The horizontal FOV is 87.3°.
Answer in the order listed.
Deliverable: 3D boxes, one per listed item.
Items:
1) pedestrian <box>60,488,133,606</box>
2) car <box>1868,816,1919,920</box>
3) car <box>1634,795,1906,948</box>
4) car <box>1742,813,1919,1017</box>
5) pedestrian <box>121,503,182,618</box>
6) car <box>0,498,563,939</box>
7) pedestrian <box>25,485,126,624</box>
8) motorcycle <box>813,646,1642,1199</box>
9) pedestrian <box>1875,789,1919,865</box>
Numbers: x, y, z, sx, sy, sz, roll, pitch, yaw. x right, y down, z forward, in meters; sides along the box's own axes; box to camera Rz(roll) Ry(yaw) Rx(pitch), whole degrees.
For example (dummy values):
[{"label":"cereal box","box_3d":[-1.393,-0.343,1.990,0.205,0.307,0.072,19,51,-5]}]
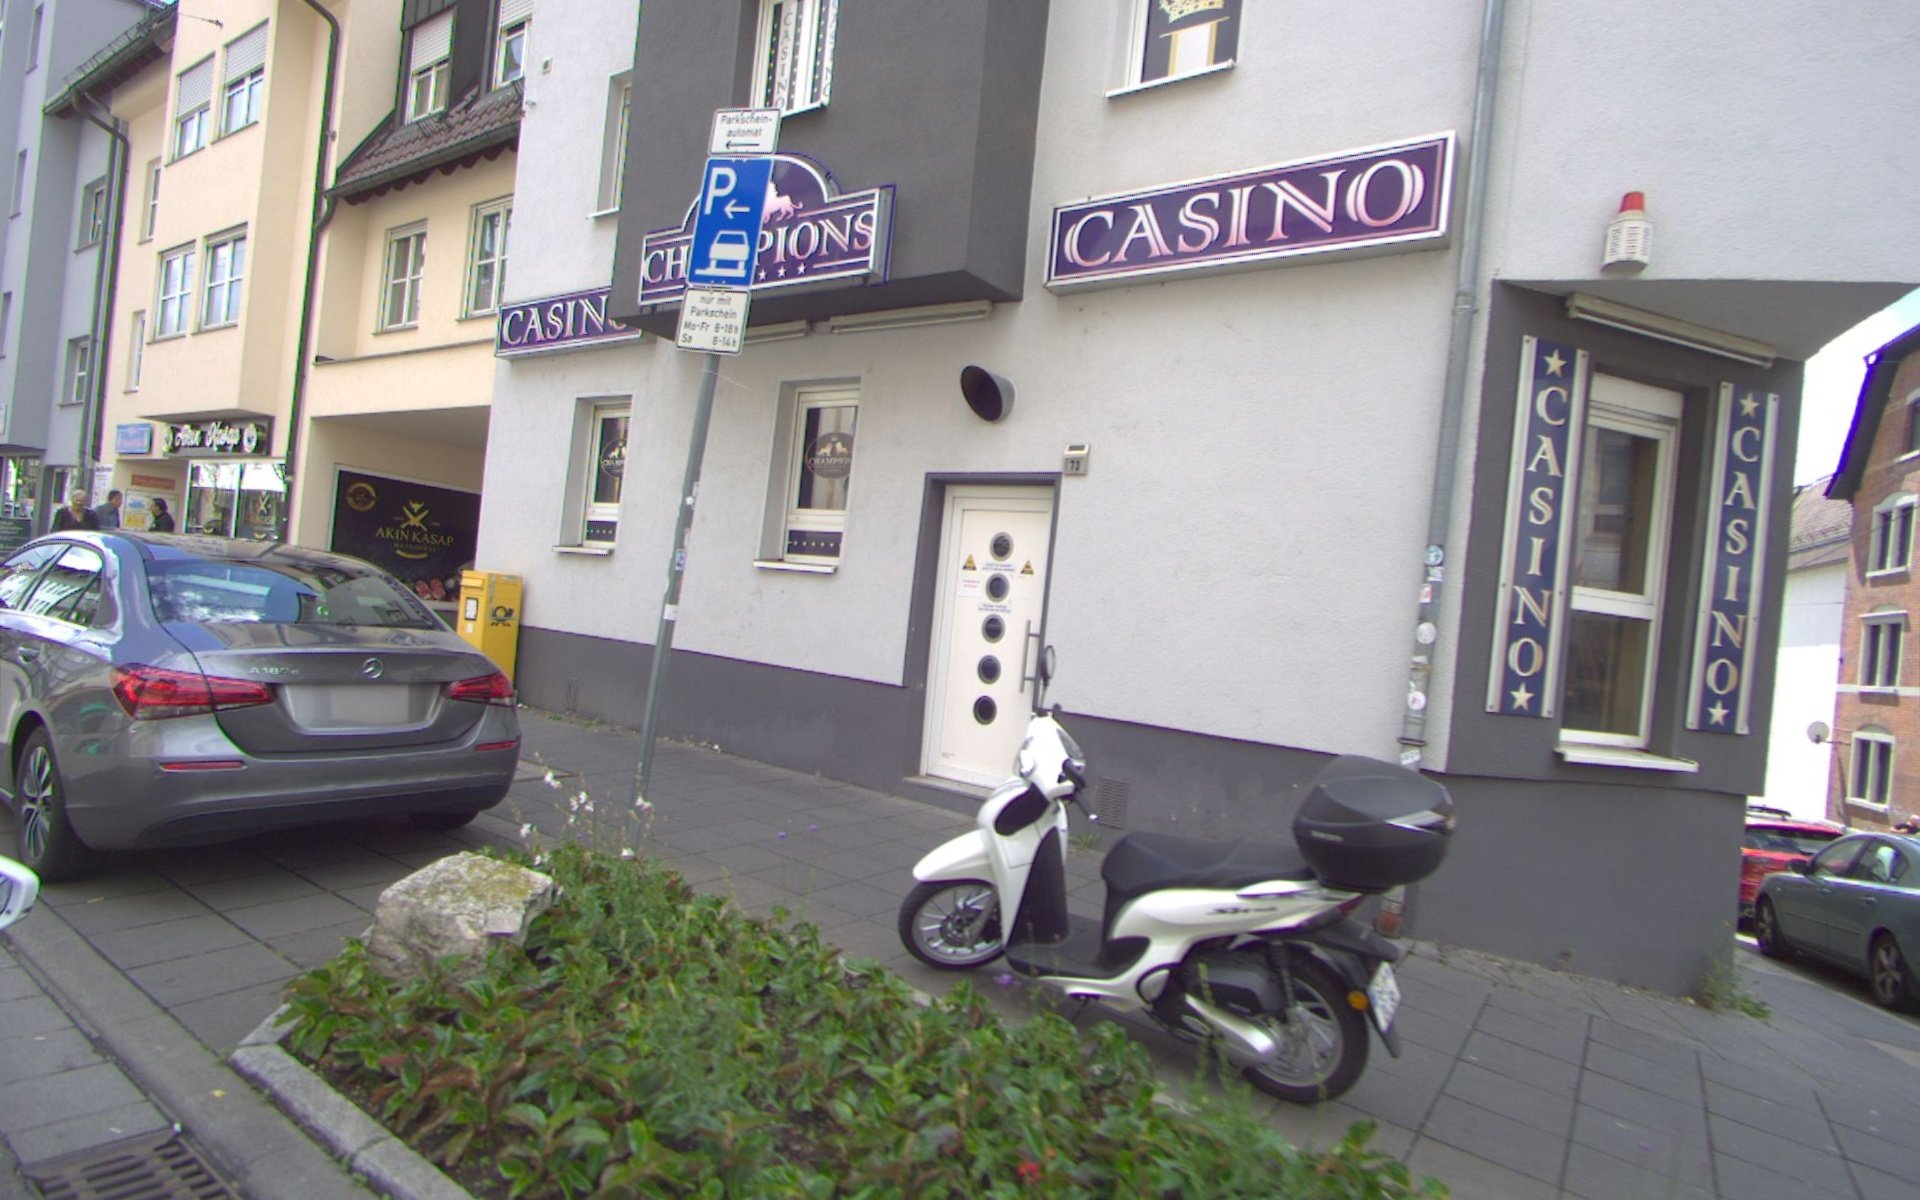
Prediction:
[{"label":"pedestrian","box_3d":[-13.387,-0.816,15.601,0.596,1.737,0.536,6,-2,33]},{"label":"car","box_3d":[17.710,4.812,17.058,1.815,1.771,4.411,8,-6,21]},{"label":"car","box_3d":[10.831,3.554,13.801,1.816,1.411,3.848,6,-7,23]},{"label":"car","box_3d":[8.872,2.850,9.070,1.816,1.411,3.902,6,-7,23]},{"label":"pedestrian","box_3d":[-12.788,-0.621,15.915,0.528,1.737,0.436,6,-2,32]},{"label":"car","box_3d":[-4.103,0.344,5.267,4.254,1.436,1.708,5,-3,38]},{"label":"pedestrian","box_3d":[-11.758,-0.593,13.382,0.645,1.738,0.744,6,-1,34]},{"label":"motorcycle","box_3d":[0.713,0.925,3.256,2.337,1.274,0.660,5,-2,31]},{"label":"pedestrian","box_3d":[22.994,5.512,24.363,0.838,1.673,0.946,7,-3,22]}]
